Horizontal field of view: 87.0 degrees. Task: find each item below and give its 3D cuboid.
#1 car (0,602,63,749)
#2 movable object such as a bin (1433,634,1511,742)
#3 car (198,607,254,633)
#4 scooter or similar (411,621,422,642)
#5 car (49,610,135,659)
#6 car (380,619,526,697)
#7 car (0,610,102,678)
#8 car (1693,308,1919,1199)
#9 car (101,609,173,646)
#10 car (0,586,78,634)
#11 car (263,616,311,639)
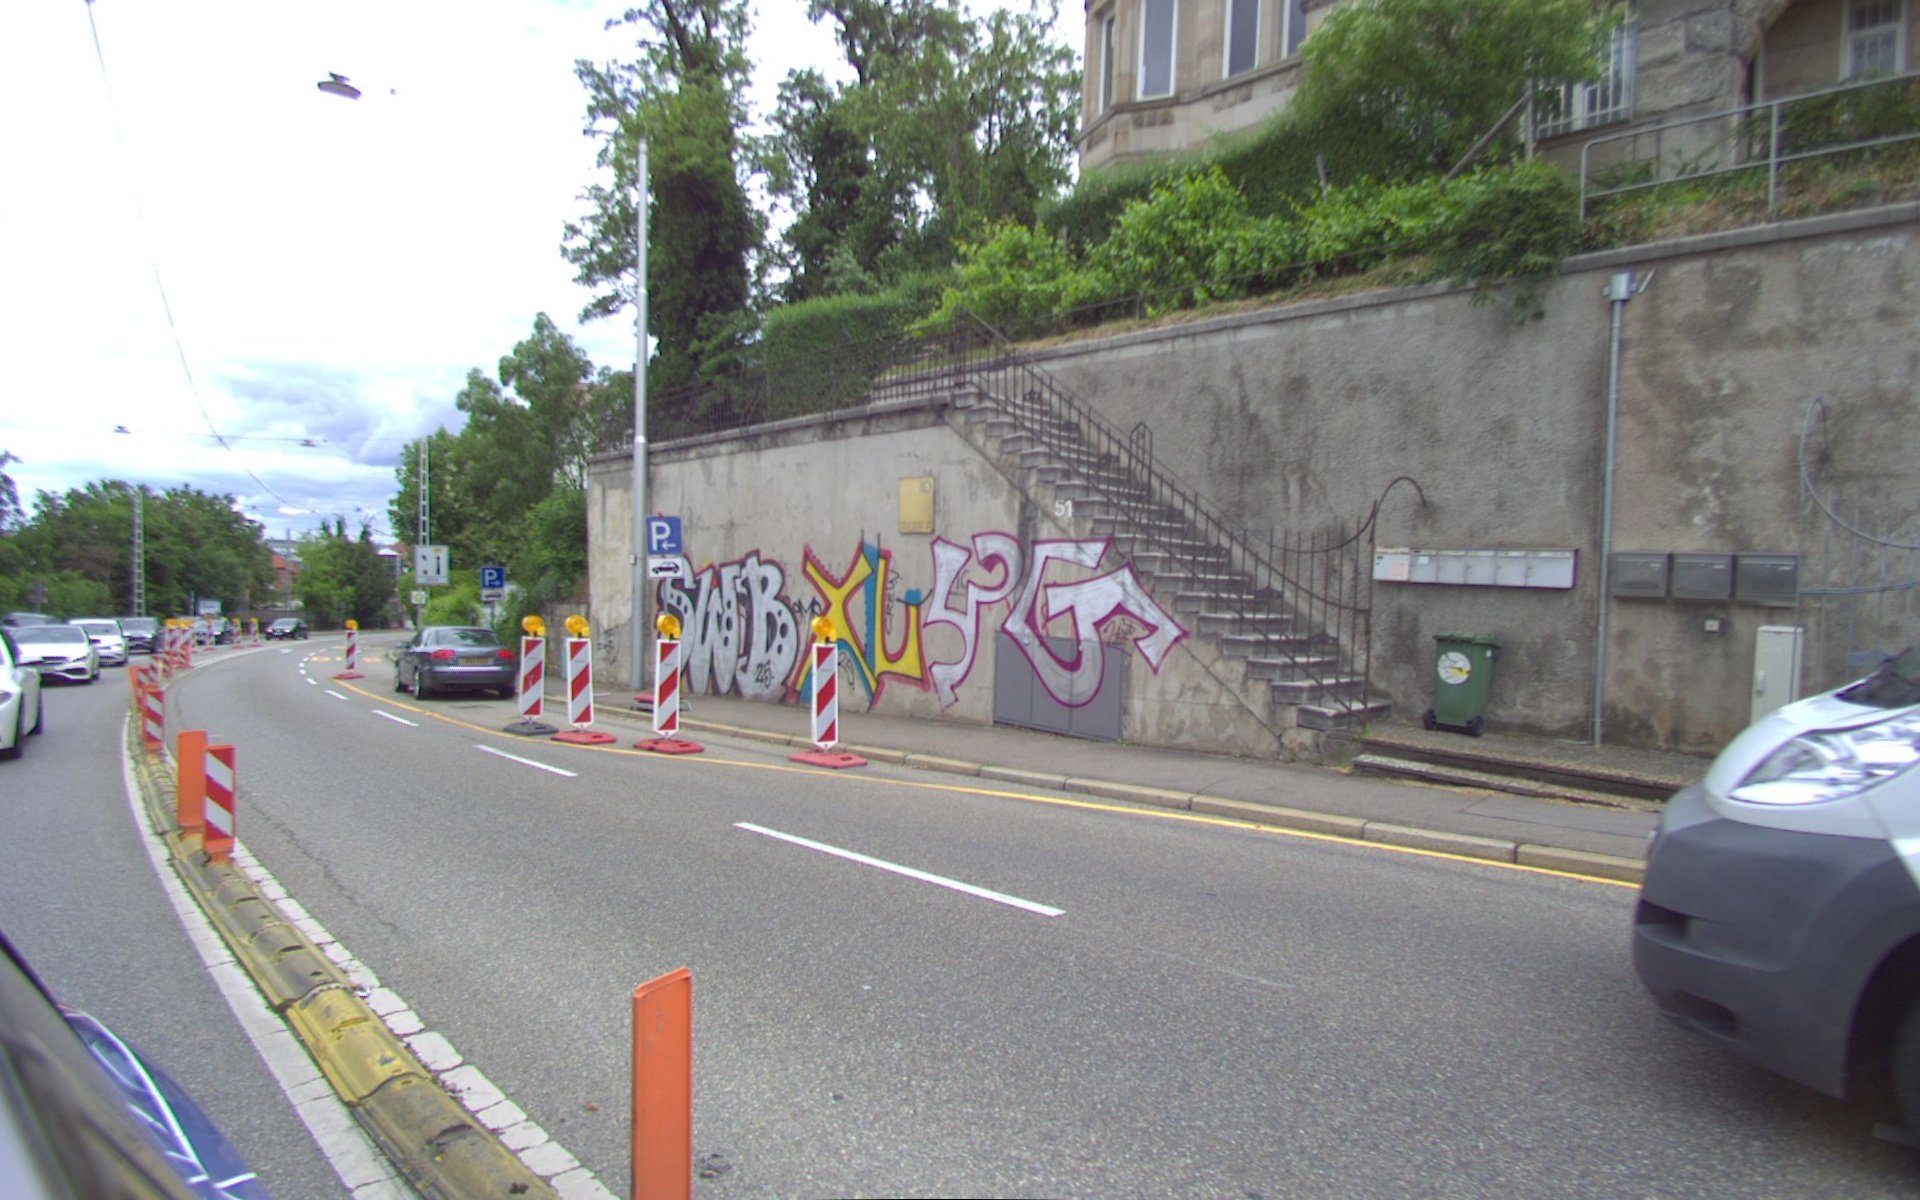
[{"bbox_3d":[-11.396,0.796,11.123,1.763,1.492,4.255,0,-1,-34],"label":"car"},{"bbox_3d":[4.618,0.776,9.133,0.448,0.918,0.508,1,-1,-43],"label":"movable object such as a bin"},{"bbox_3d":[-43.798,1.171,60.458,1.769,1.522,4.013,1,-1,-22],"label":"car"},{"bbox_3d":[-33.129,1.896,61.640,0.422,1.218,1.285,-1,0,-36],"label":"scooter or similar"},{"bbox_3d":[-29.244,1.145,34.196,1.763,1.563,4.255,1,-2,-35],"label":"car"},{"bbox_3d":[-10.271,1.112,20.321,1.776,1.383,4.397,4,-3,-37],"label":"car"},{"bbox_3d":[-21.736,1.002,24.164,1.765,1.492,4.253,0,-1,-39],"label":"car"},{"bbox_3d":[4.559,0.412,2.019,4.955,2.204,2.047,-1,-3,38],"label":"car"},{"bbox_3d":[-37.010,1.224,45.602,1.769,1.522,4.012,3,-2,-29],"label":"car"},{"bbox_3d":[-37.378,0.387,40.577,1.828,1.686,4.293,8,-4,-26],"label":"car"},{"bbox_3d":[-45.838,1.865,68.998,1.762,1.492,4.258,1,-1,-21],"label":"car"}]
